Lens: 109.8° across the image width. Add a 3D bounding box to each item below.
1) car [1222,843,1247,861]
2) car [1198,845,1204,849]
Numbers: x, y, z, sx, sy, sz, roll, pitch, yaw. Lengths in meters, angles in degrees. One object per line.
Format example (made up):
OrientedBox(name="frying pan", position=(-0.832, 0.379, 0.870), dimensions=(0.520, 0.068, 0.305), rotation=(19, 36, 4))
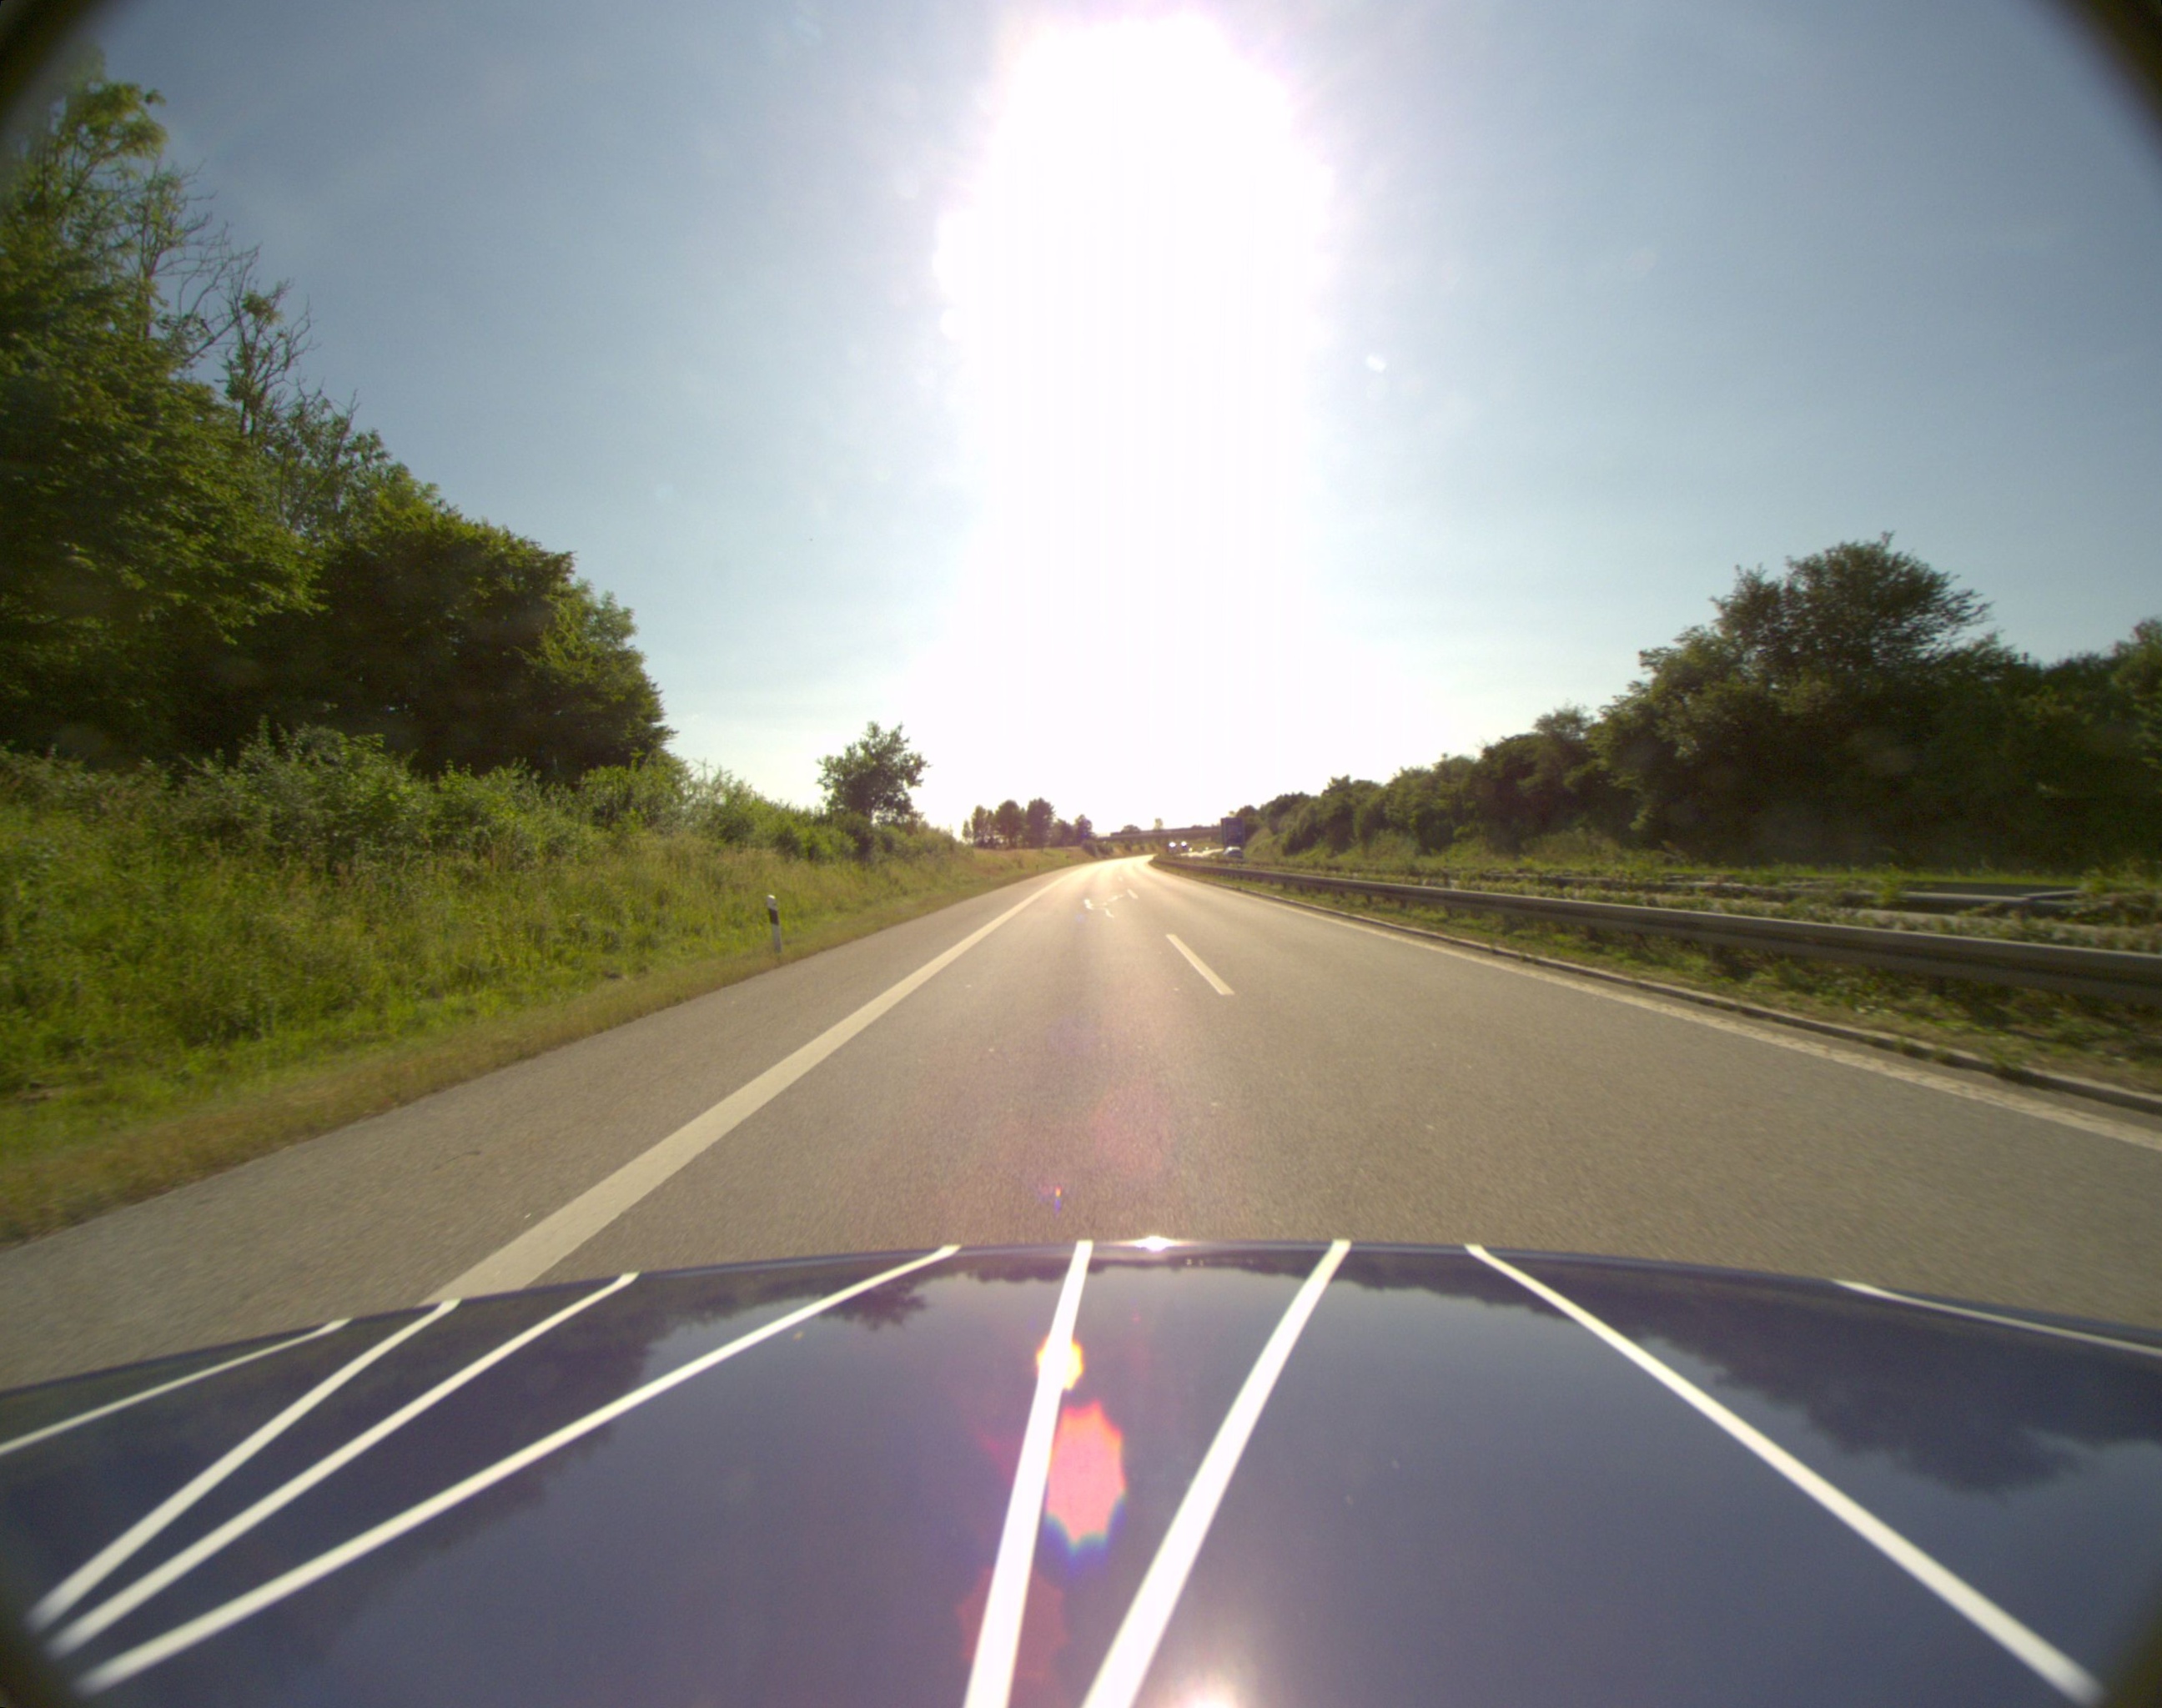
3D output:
OrientedBox(name="car", position=(17.949, -0.301, 88.954), dimensions=(1.998, 2.002, 4.855), rotation=(-2, 1, 2))
OrientedBox(name="car", position=(41.634, -2.425, 263.793), dimensions=(1.860, 1.589, 4.002), rotation=(-2, 1, 7))
